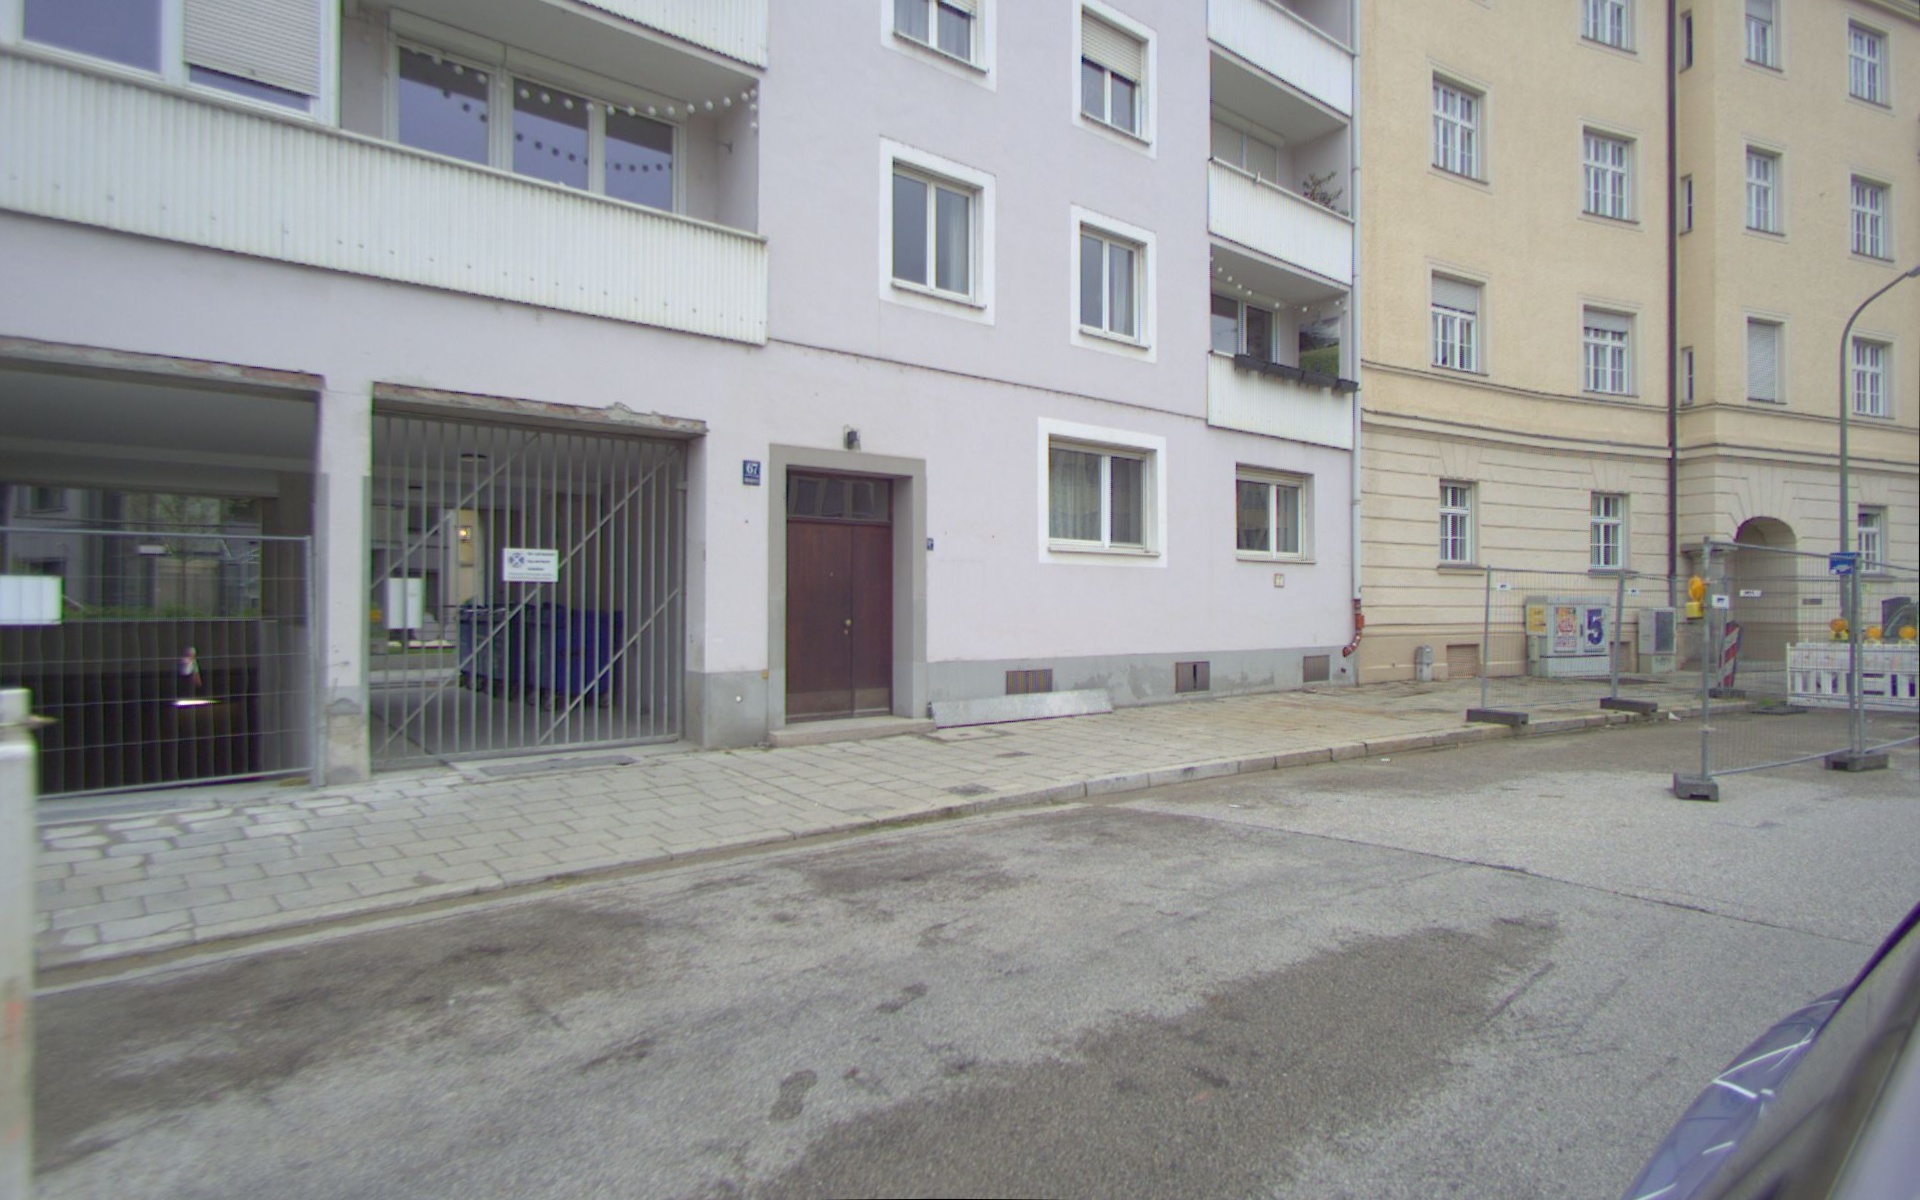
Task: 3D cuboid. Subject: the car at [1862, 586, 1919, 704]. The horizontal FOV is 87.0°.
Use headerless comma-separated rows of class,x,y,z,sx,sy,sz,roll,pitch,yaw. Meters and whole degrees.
car,16.749,0.695,16.657,4.157,1.822,1.842,0,-2,-34
